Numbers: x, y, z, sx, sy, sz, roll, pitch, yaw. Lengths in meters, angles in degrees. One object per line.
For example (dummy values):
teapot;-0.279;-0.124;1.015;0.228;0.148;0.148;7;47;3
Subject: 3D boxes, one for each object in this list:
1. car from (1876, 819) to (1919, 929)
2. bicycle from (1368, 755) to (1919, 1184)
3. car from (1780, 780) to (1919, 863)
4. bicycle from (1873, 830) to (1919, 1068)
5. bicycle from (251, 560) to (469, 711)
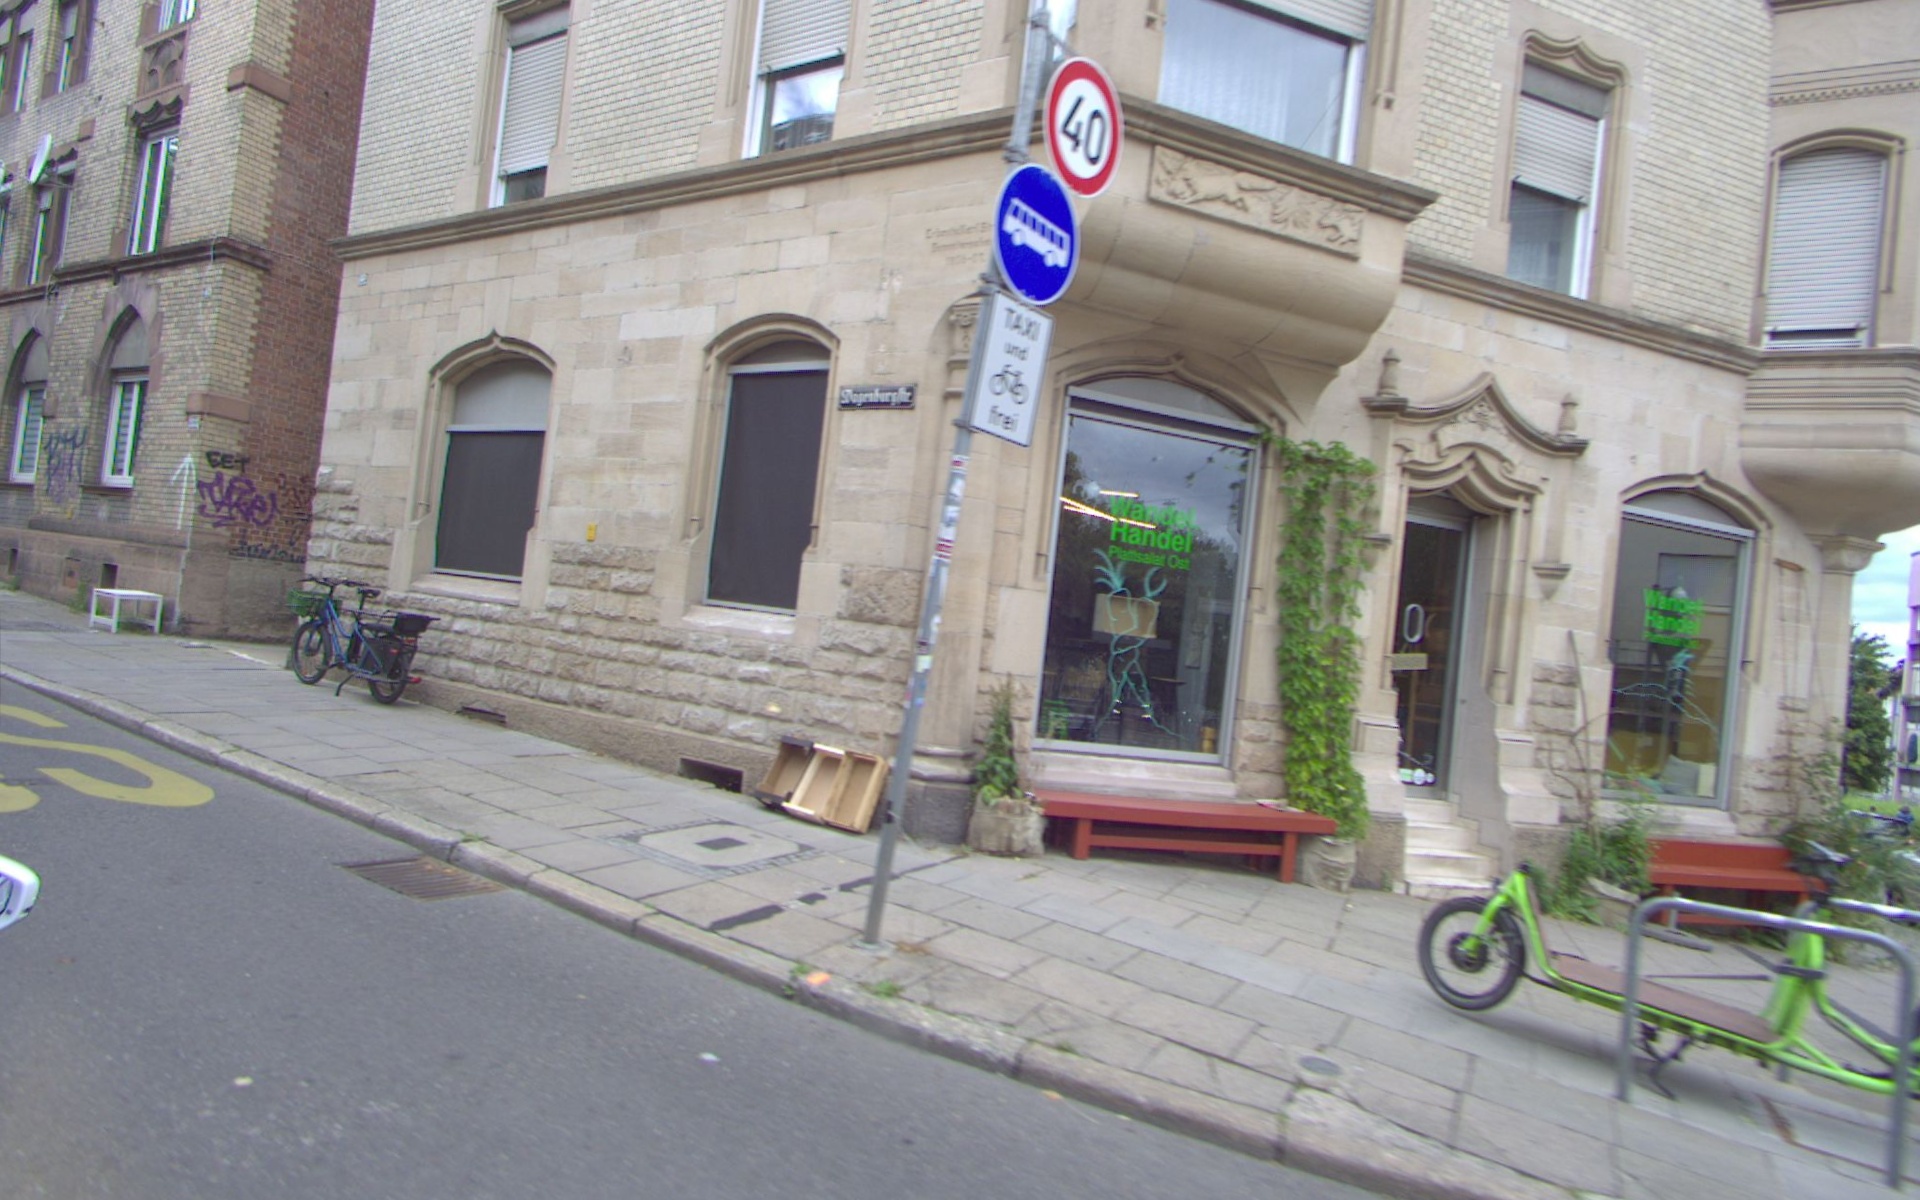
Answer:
car;13.873;3.825;13.024;1.833;1.394;4.004;5;-5;26
bicycle;3.389;1.543;4.240;2.891;1.163;0.683;9;0;32
car;27.922;6.850;31.574;2.108;1.719;4.691;8;-2;25
bicycle;5.944;1.966;4.881;2.024;1.162;0.683;9;-2;32
bicycle;-5.882;0.319;9.793;2.442;1.163;0.683;6;-1;32
